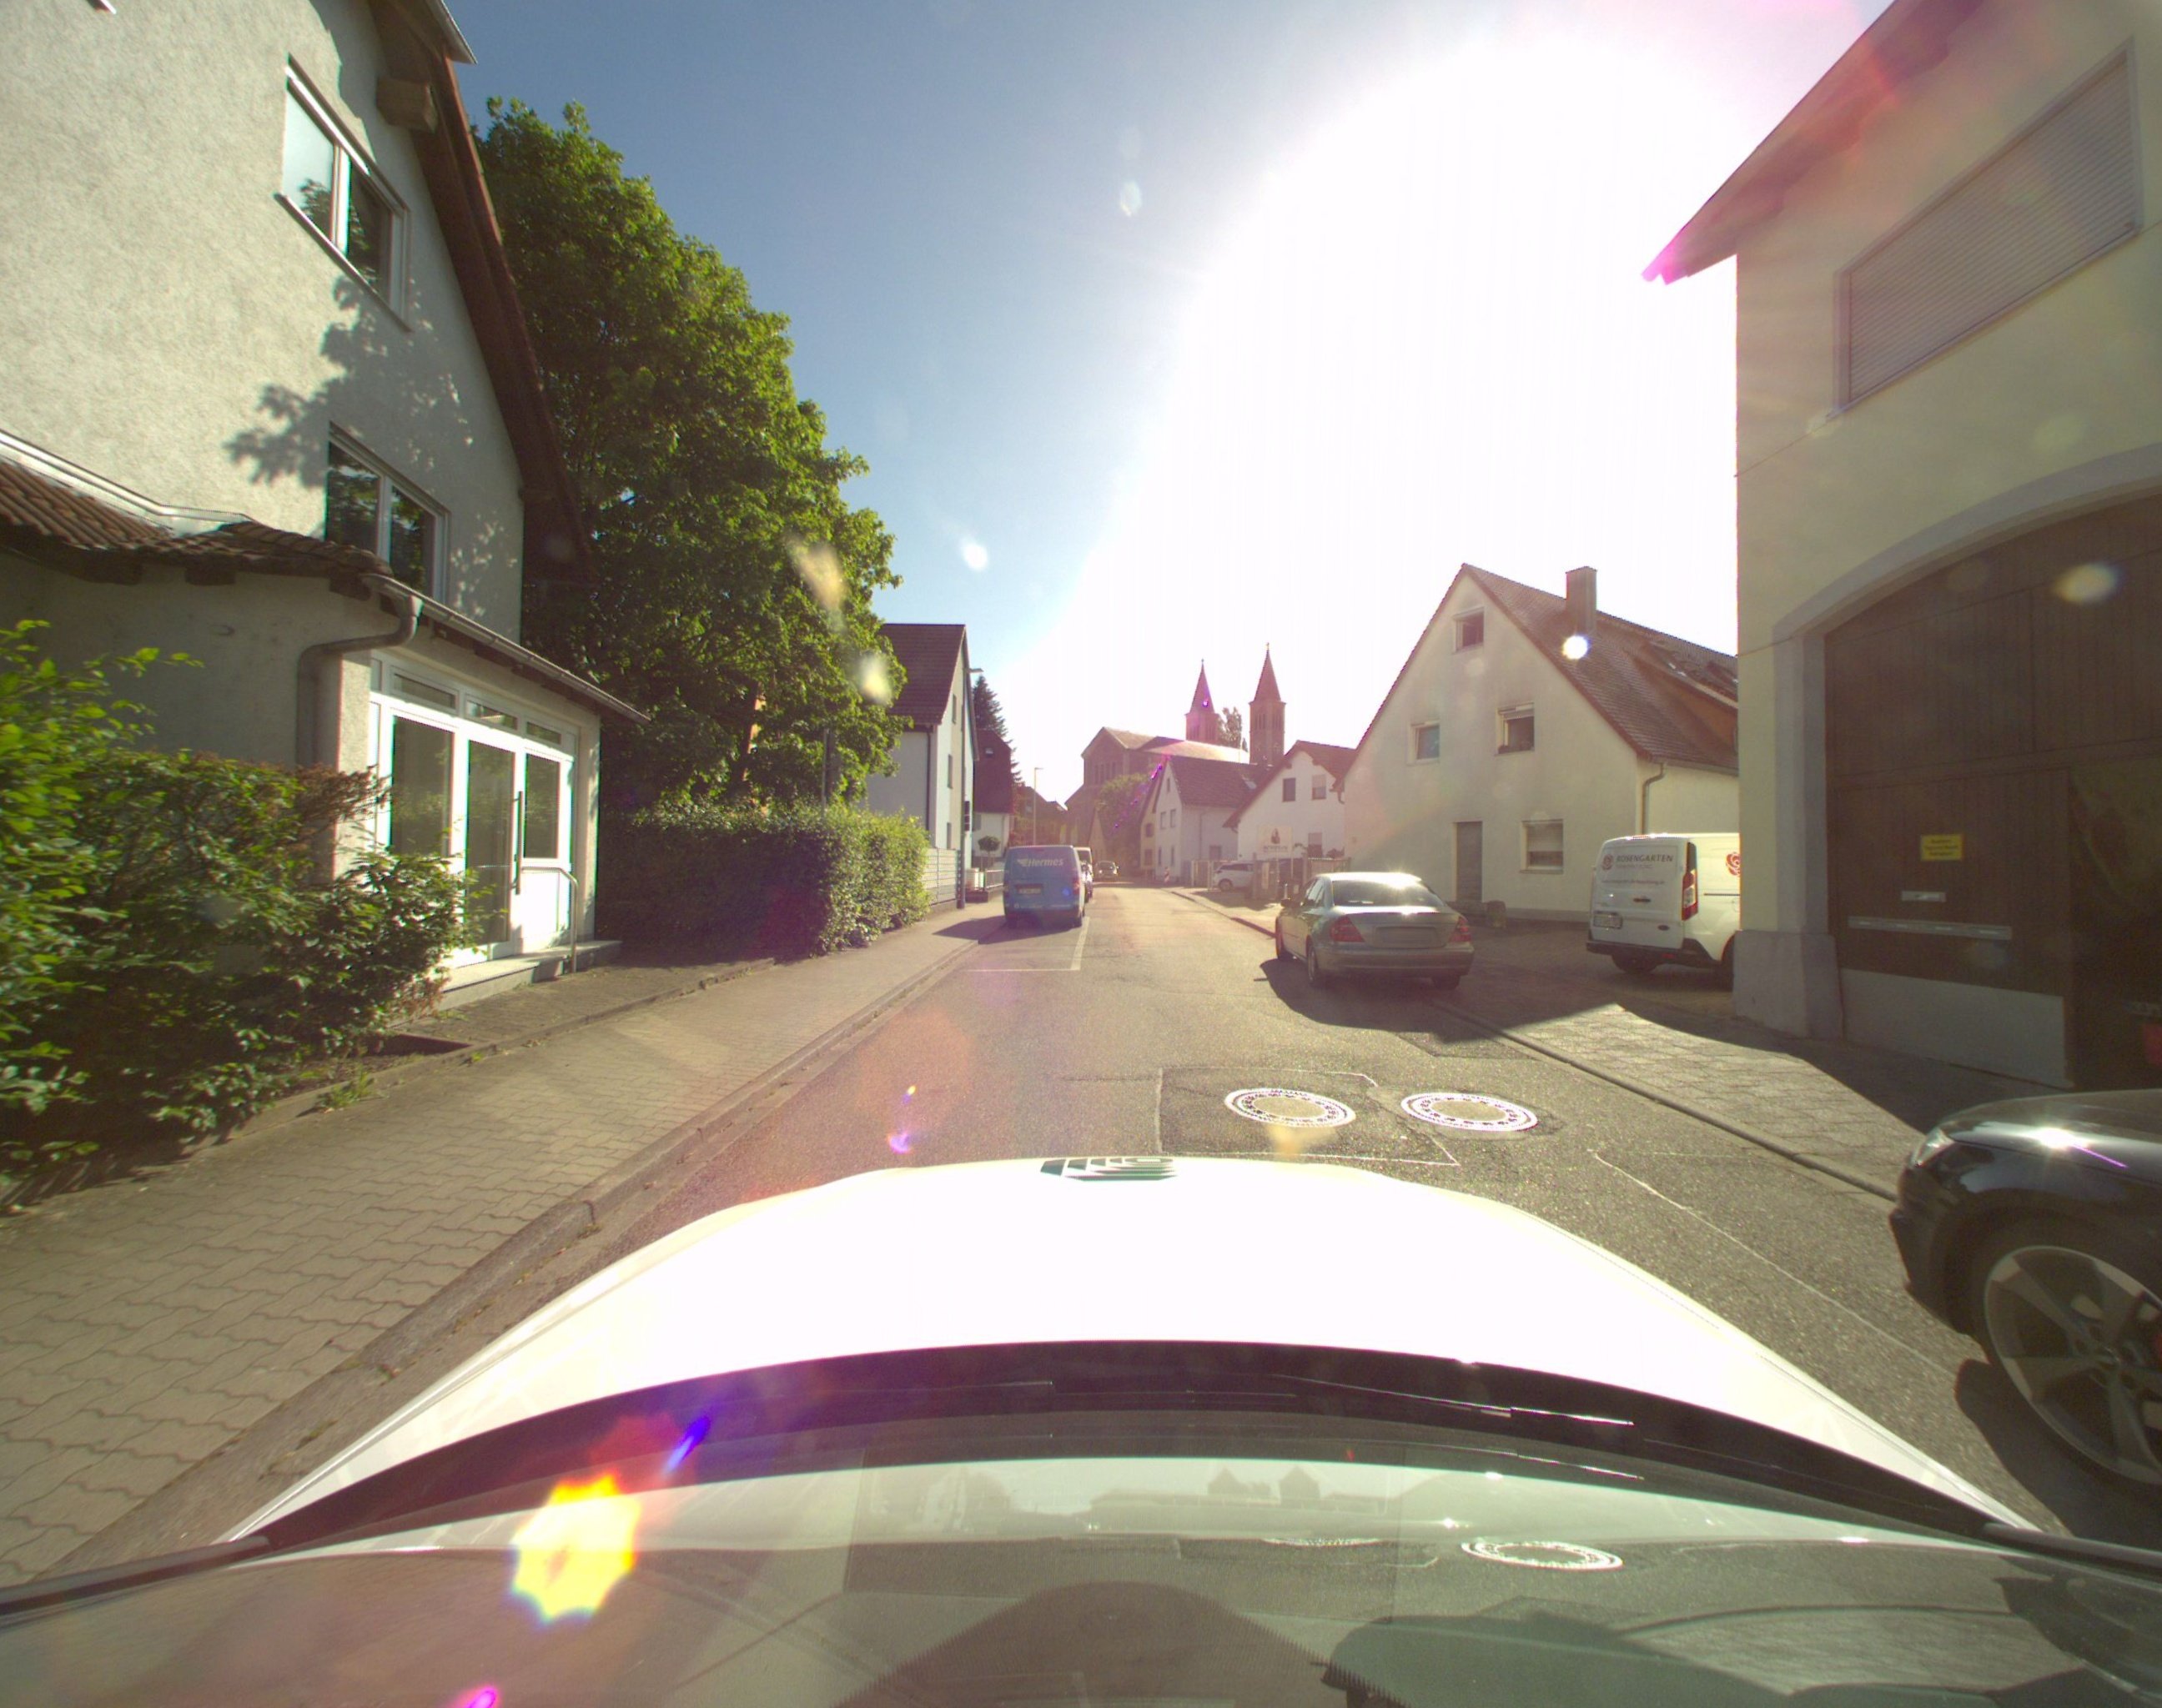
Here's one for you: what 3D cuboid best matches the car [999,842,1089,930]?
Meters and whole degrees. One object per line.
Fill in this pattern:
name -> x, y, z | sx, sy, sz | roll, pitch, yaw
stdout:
car -> -0.803, 0.725, 20.646 | 1.895, 1.917, 5.071 | -1, 0, 1

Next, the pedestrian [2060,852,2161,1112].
pedestrian -> 6.743, 0.772, 4.992 | 0.563, 1.552, 0.769 | 1, -1, -4

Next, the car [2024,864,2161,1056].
car -> 10.633, 0.855, 7.050 | 3.927, 1.536, 1.446 | 0, 0, -10

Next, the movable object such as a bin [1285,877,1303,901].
movable object such as a bin -> 8.641, 1.416, 33.044 | 0.518, 0.923, 0.419 | 3, -2, -29

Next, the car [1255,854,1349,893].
car -> 10.349, 0.862, 38.072 | 4.058, 1.688, 1.895 | 0, 0, -28

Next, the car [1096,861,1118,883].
car -> 1.919, 1.344, 61.057 | 1.568, 1.546, 2.966 | 0, 0, 1

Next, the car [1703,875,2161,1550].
car -> 3.322, 0.835, 0.761 | 1.802, 1.475, 4.844 | 2, 0, 0

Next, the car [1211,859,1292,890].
car -> 8.515, 1.033, 40.902 | 3.889, 1.492, 1.852 | -1, -1, 9

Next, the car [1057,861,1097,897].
car -> -0.135, 1.070, 36.844 | 1.705, 1.504, 4.235 | -1, 0, 1

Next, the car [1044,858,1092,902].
car -> -0.442, 0.957, 31.688 | 1.709, 1.598, 3.925 | -1, 0, 1

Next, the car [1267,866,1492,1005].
car -> 3.855, 0.938, 11.426 | 1.803, 1.475, 4.666 | 1, 0, 5

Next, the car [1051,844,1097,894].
car -> -0.304, 0.728, 42.959 | 2.189, 2.390, 6.065 | -2, 0, 1

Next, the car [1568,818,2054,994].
car -> 9.034, 0.568, 10.302 | 4.757, 1.886, 1.904 | -1, 0, -7
